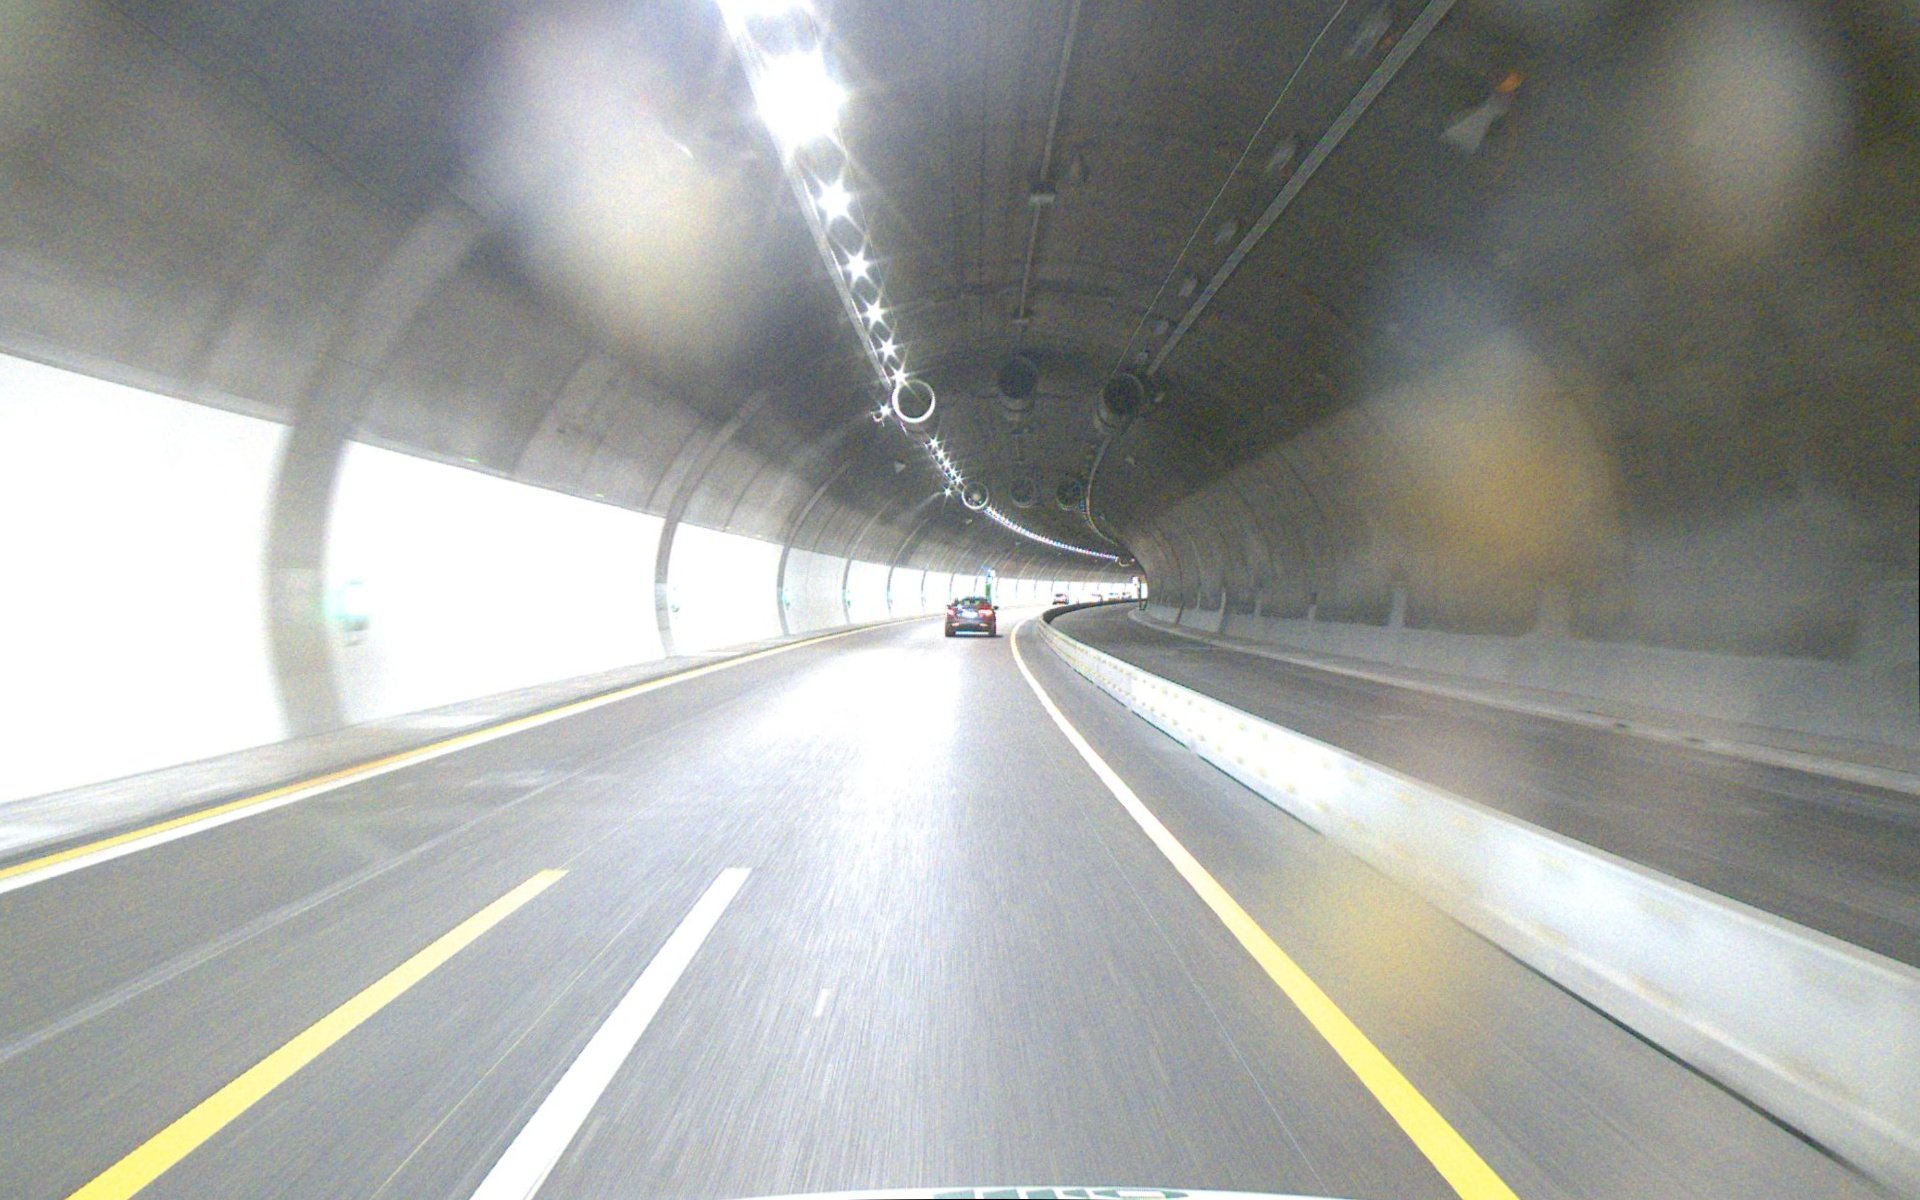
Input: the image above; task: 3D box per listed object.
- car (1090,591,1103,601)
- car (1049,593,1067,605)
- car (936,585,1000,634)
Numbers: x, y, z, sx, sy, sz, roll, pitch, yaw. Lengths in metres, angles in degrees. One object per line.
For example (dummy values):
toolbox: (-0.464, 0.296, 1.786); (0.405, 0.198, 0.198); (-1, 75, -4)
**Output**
car: (19.130, -0.561, 231.807); (1.561, 1.356, 3.754); (0, 0, 9)
car: (12.799, -0.180, 215.629); (2.119, 1.512, 4.003); (0, 0, 8)
car: (0.319, 0.329, 60.685); (2.096, 1.735, 4.002); (0, 0, 4)
